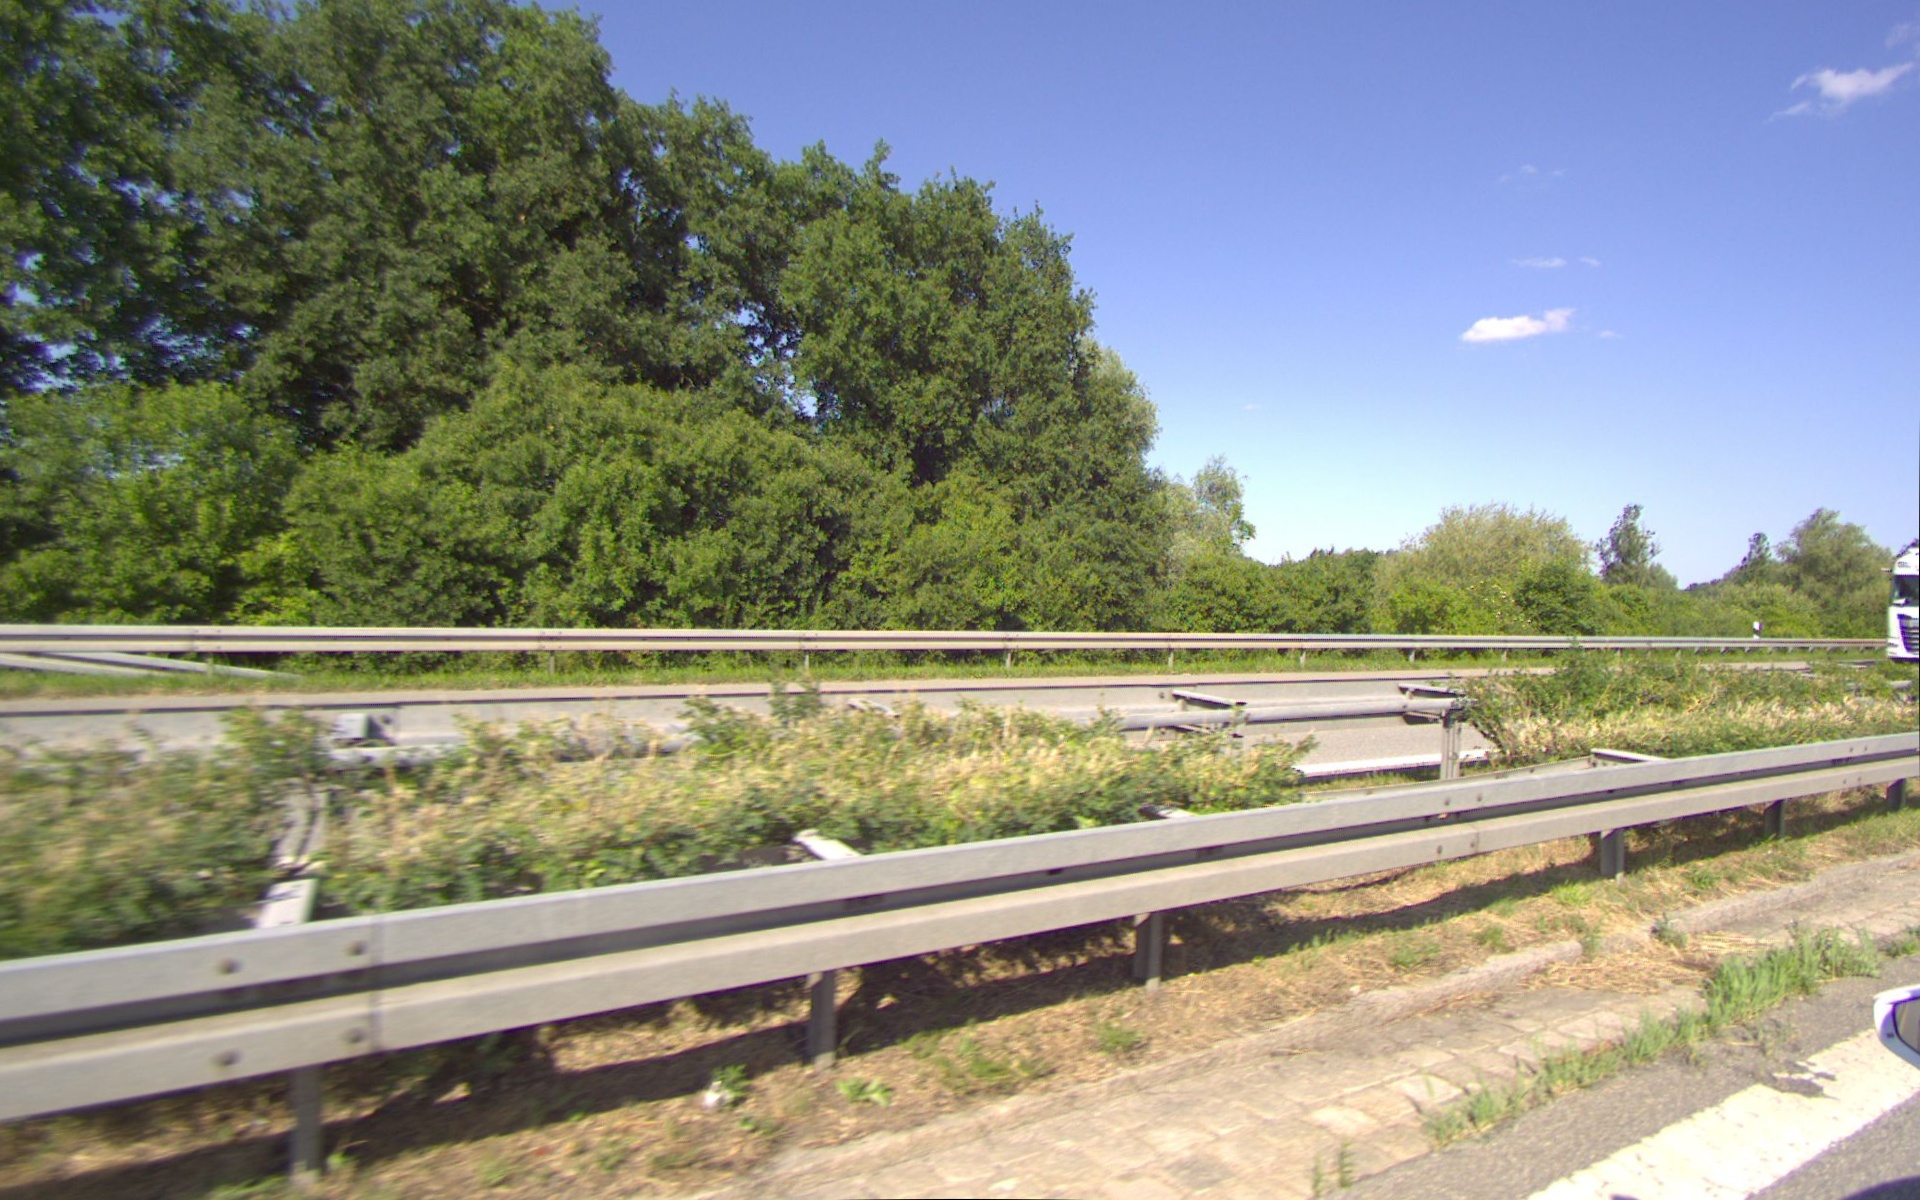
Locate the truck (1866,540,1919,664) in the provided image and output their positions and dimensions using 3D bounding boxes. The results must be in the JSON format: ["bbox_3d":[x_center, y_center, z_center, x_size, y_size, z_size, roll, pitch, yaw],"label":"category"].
[{"bbox_3d":[31.879,0.112,32.220,5.906,3.776,2.726,1,-1,-33],"label":"truck"}]

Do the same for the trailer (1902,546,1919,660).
[{"bbox_3d":[36.803,0.191,35.379,10.794,3.776,2.726,1,-1,-33],"label":"trailer"}]
